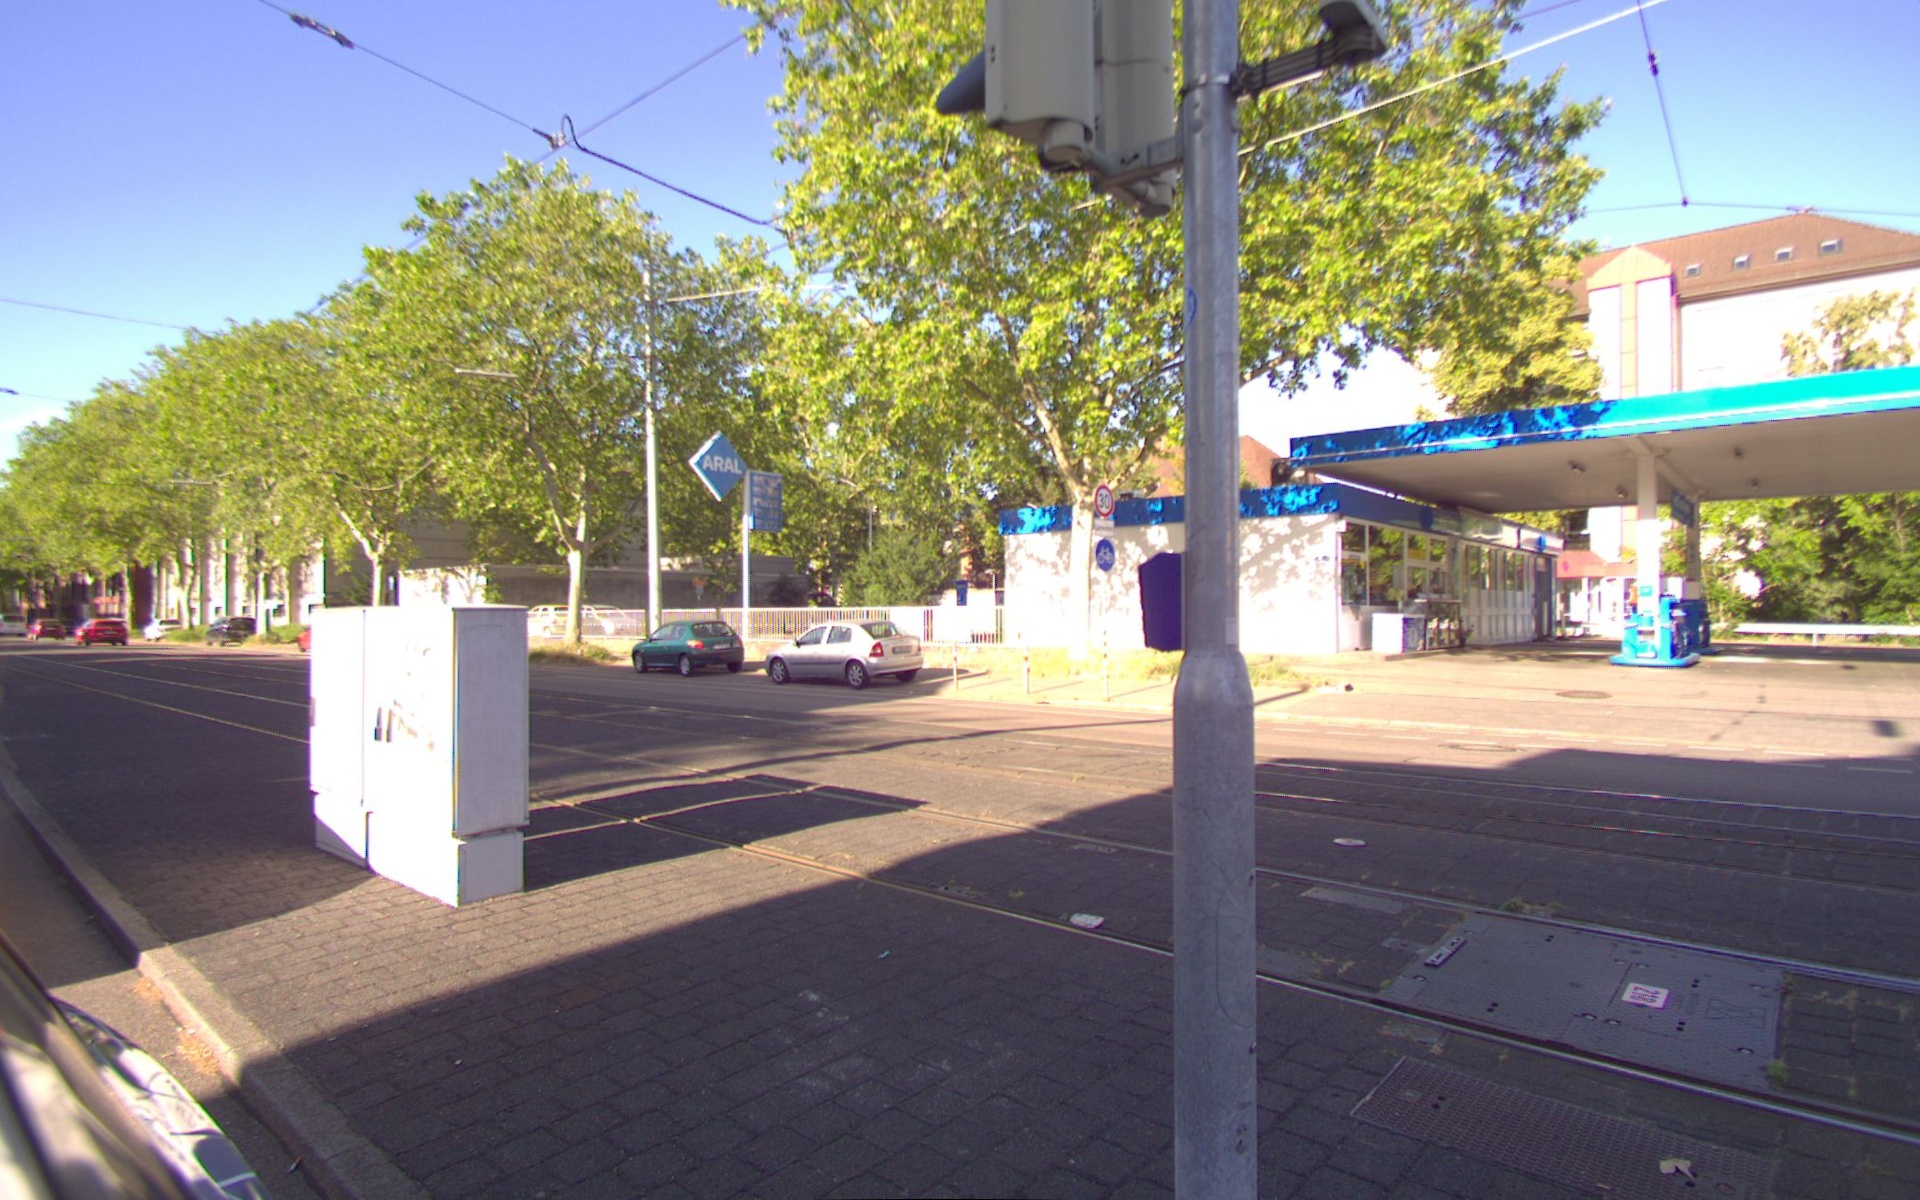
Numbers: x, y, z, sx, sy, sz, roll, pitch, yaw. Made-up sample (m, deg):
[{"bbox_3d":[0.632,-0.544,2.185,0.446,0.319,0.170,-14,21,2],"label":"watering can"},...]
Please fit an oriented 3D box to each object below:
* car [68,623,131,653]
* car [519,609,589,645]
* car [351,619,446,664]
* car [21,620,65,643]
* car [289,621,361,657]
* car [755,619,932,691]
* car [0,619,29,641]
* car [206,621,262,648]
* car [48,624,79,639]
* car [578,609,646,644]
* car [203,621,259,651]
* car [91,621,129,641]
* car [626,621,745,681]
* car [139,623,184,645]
[{"bbox_3d":[-47.736,2.093,56.096,4.761,1.534,1.887,-1,-2,40],"label":"car"},{"bbox_3d":[-16.869,1.103,42.004,3.151,1.431,1.525,-1,0,44],"label":"car"},{"bbox_3d":[-22.208,1.594,39.986,4.431,1.534,1.731,-1,3,40],"label":"car"},{"bbox_3d":[-64.331,2.216,70.986,3.998,1.431,1.678,-1,-7,41],"label":"car"},{"bbox_3d":[-29.005,1.743,46.187,3.998,1.479,1.678,0,-1,41],"label":"car"},{"bbox_3d":[-2.665,1.155,22.643,3.998,1.431,1.709,-1,0,41],"label":"car"},{"bbox_3d":[-80.443,2.529,85.651,4.390,1.860,1.827,-1,-2,39],"label":"car"},{"bbox_3d":[-40.601,1.895,56.568,3.998,1.420,1.678,-1,-2,41],"label":"car"},{"bbox_3d":[-85.185,2.983,96.154,3.998,1.420,1.678,-1,-2,41],"label":"car"},{"bbox_3d":[-14.930,1.106,43.366,3.151,1.431,1.525,-1,0,44],"label":"car"},{"bbox_3d":[-40.736,1.987,56.527,3.998,1.587,1.678,-1,-2,41],"label":"car"},{"bbox_3d":[-66.813,2.423,79.538,3.998,1.569,1.678,-1,-2,41],"label":"car"},{"bbox_3d":[-7.310,1.307,26.838,3.253,1.431,1.526,-1,0,41],"label":"car"},{"bbox_3d":[-53.811,2.298,68.191,3.998,1.420,1.678,-1,-2,41],"label":"car"}]
